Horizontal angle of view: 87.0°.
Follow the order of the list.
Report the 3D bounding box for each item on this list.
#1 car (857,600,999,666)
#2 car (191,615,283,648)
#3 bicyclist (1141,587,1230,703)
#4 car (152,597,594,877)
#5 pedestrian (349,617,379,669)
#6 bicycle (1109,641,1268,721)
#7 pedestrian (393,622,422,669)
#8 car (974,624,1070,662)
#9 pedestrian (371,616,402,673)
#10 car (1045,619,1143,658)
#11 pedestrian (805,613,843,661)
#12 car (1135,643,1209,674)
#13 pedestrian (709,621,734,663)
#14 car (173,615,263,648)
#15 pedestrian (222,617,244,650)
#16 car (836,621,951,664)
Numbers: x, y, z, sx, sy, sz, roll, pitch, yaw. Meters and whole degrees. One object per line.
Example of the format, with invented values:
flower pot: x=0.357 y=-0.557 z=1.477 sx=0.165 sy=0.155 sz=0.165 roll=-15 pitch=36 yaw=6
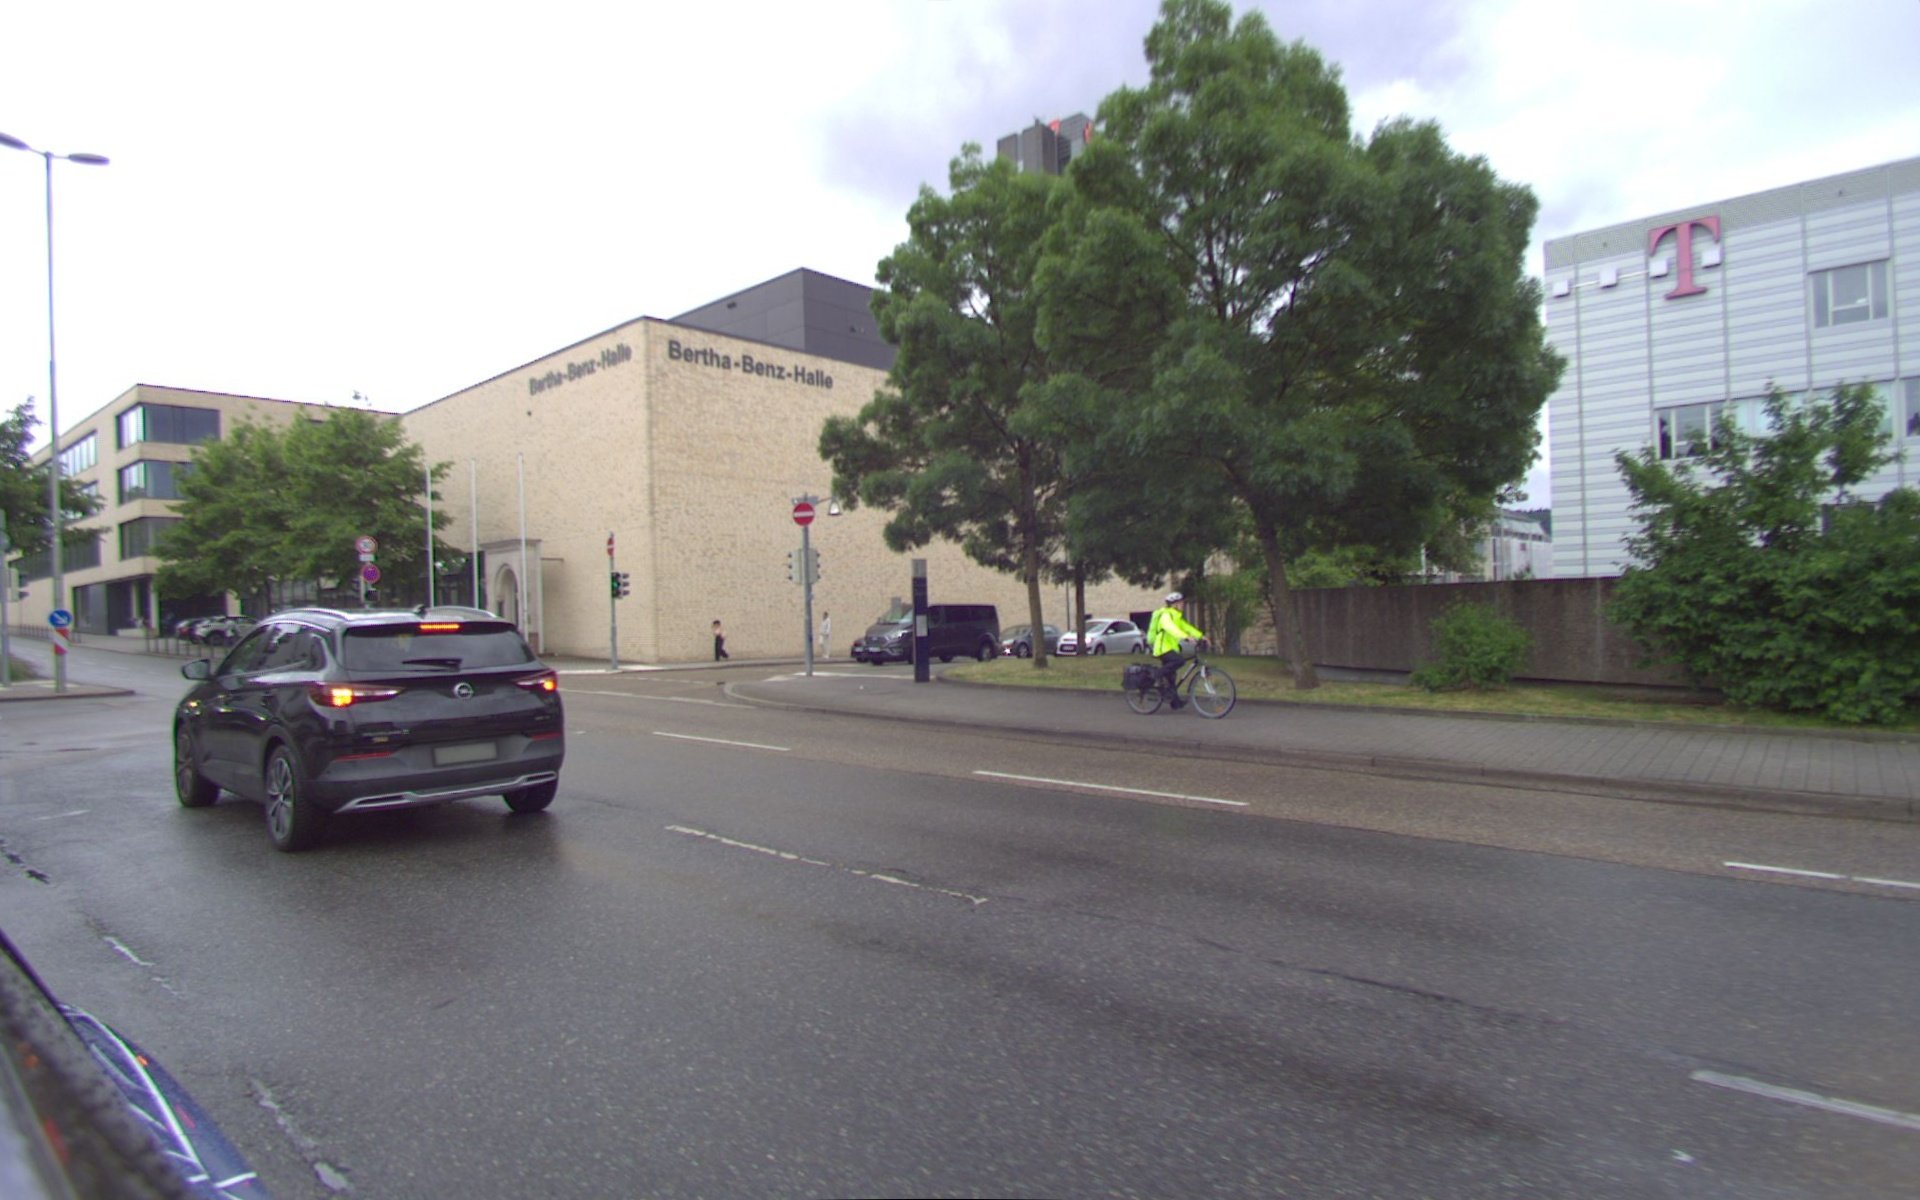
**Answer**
car: x=-0.947 y=1.112 z=32.475 sx=1.997 sy=1.940 sz=4.730 roll=-2 pitch=-4 yaw=38
car: x=-41.095 y=1.772 z=57.567 sx=2.001 sy=1.596 sz=3.942 roll=-1 pitch=2 yaw=45
bicyclist: x=3.016 y=0.581 z=13.537 sx=0.812 sy=1.453 sz=0.833 roll=-2 pitch=1 yaw=43
car: x=-4.818 y=0.847 z=8.013 sx=4.294 sy=1.606 sz=1.788 roll=-2 pitch=0 yaw=42
pedestrian: x=-20.457 y=1.460 z=34.714 sx=0.691 sy=1.744 sz=0.589 roll=-2 pitch=1 yaw=36
bicycle: x=3.029 y=1.046 z=13.540 sx=1.867 sy=0.914 sz=0.875 roll=-2 pitch=2 yaw=43
pedestrian: x=-18.869 y=1.542 z=34.557 sx=0.691 sy=1.527 sz=0.588 roll=-2 pitch=1 yaw=40
car: x=2.594 y=1.779 z=41.520 sx=1.999 sy=1.469 sz=3.946 roll=-2 pitch=-4 yaw=40
pedestrian: x=-18.547 y=1.438 z=32.745 sx=0.691 sy=1.784 sz=0.588 roll=-2 pitch=1 yaw=40
car: x=5.274 y=1.534 z=39.576 sx=1.999 sy=1.469 sz=3.946 roll=-2 pitch=-4 yaw=40
pedestrian: x=-5.078 y=1.376 z=37.910 sx=0.806 sy=1.713 sz=1.099 roll=-2 pitch=1 yaw=38
car: x=10.689 y=2.942 z=50.867 sx=1.999 sy=1.469 sz=3.946 roll=-2 pitch=-4 yaw=40
pedestrian: x=-8.160 y=1.441 z=34.610 sx=0.475 sy=1.386 sz=0.614 roll=-2 pitch=1 yaw=41
car: x=-43.183 y=1.806 z=58.937 sx=2.001 sy=1.596 sz=3.942 roll=-1 pitch=2 yaw=45
pedestrian: x=-38.413 y=1.768 z=53.482 sx=0.792 sy=1.659 sz=0.977 roll=-3 pitch=1 yaw=-43
car: x=-2.311 y=1.535 z=36.073 sx=1.996 sy=1.453 sz=3.950 roll=-2 pitch=-4 yaw=37
